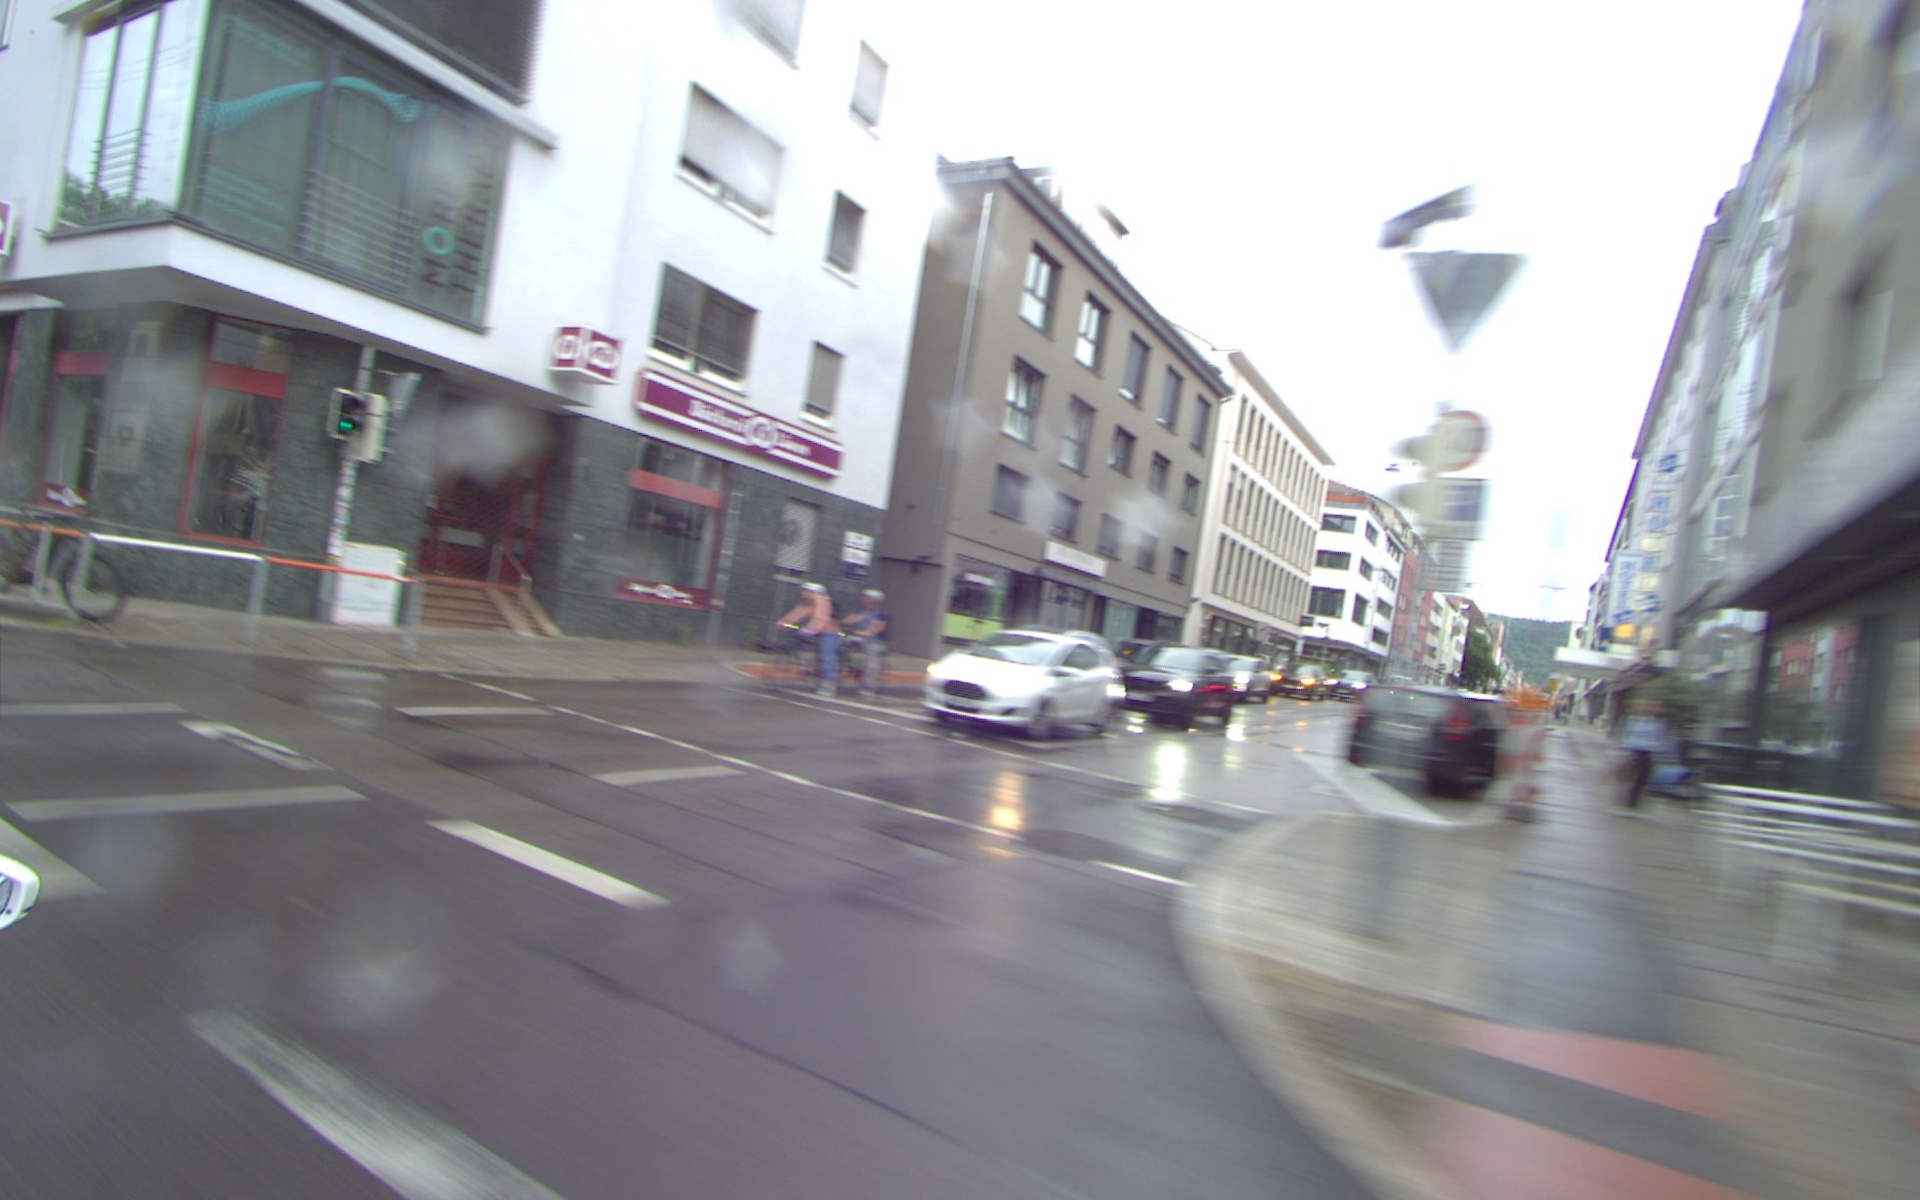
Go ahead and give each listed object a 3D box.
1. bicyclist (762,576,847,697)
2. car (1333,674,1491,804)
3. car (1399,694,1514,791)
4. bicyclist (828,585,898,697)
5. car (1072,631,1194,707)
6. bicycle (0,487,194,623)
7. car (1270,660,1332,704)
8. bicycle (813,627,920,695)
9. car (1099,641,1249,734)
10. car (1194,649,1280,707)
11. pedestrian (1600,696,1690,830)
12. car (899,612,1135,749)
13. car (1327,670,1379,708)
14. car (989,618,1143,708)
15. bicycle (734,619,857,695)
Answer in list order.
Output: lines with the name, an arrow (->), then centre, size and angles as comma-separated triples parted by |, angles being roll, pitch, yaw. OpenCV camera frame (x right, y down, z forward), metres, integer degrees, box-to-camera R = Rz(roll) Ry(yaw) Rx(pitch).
bicyclist -> -2.447, 0.590, 15.850 | 0.744, 1.767, 0.842 | 8, 0, 30
car -> 7.143, 2.082, 15.678 | 1.693, 1.504, 3.975 | 8, -1, 30
car -> 10.226, 2.831, 20.575 | 1.693, 1.504, 3.975 | 8, -1, 30
bicyclist -> -1.667, 0.707, 17.353 | 0.744, 1.812, 0.635 | 8, 0, 30
car -> 4.735, 1.899, 27.038 | 1.748, 1.659, 4.086 | 8, -1, 30
bicycle -> -9.478, -0.485, 10.748 | 1.923, 1.170, 0.578 | 9, -1, -5
car -> 15.562, 3.768, 45.804 | 1.748, 1.659, 4.086 | 8, -1, 30
bicycle -> -1.601, 1.086, 17.538 | 0.743, 1.022, 1.984 | 8, -1, 29
car -> 4.516, 1.817, 20.761 | 1.693, 1.504, 4.086 | 8, -1, 30
car -> 9.701, 2.742, 35.030 | 1.748, 1.659, 4.086 | 8, -1, 30
pedestrian -> 9.198, 2.167, 13.522 | 0.847, 1.629, 0.548 | 6, -1, 35
car -> 0.990, 1.195, 14.759 | 1.693, 1.504, 3.975 | 8, -1, 30
car -> 20.550, 4.670, 52.514 | 1.748, 1.659, 4.086 | 8, -1, 30
car -> 2.535, 1.508, 23.185 | 1.848, 1.659, 4.086 | 8, -1, 30
bicycle -> -2.540, 0.918, 15.777 | 0.743, 1.022, 1.929 | 8, -1, 29
